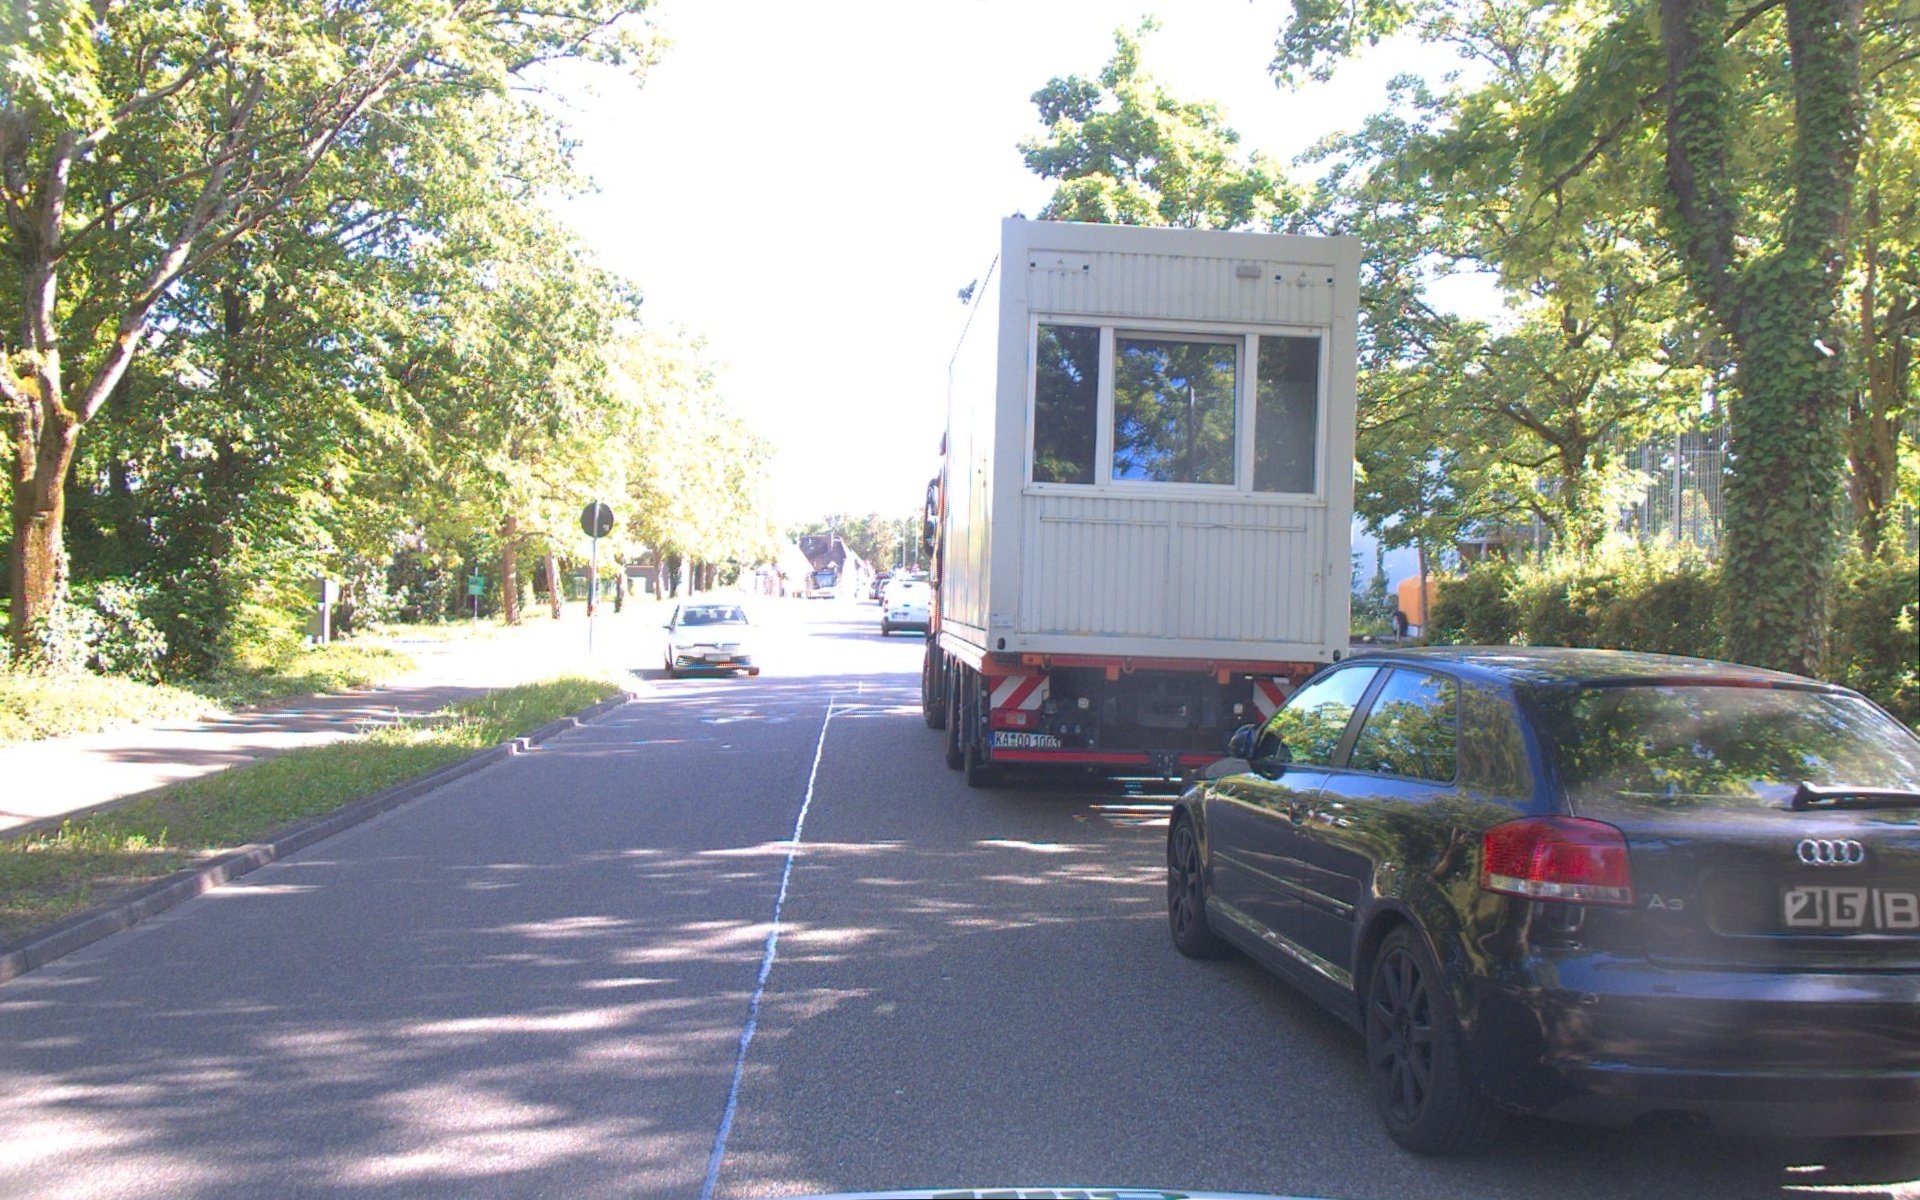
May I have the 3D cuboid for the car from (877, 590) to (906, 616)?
[{"bbox_3d":[-4.539,0.200,109.396,1.746,1.681,3.996,0,0,-5],"label":"car"}]

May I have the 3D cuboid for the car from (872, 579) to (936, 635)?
[{"bbox_3d":[-1.989,0.238,57.826,1.909,1.875,3.994,1,0,-7],"label":"car"}]

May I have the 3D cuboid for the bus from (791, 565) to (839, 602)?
[{"bbox_3d":[-13.948,-1.582,160.398,3.983,3.407,9.798,-1,1,-1],"label":"bus"}]

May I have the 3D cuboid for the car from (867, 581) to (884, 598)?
[{"bbox_3d":[-9.186,-1.136,179.824,1.746,1.840,3.996,0,0,-5],"label":"car"}]

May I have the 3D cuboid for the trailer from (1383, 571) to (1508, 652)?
[{"bbox_3d":[13.210,0.311,45.107,2.886,2.153,1.609,0,0,-6],"label":"trailer"}]

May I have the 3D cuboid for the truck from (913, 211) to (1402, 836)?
[{"bbox_3d":[1.189,-0.533,16.176,2.718,4.065,10.339,2,0,-4],"label":"truck"}]

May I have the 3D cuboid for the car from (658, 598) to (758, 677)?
[{"bbox_3d":[-5.141,0.709,33.395,1.774,1.445,3.948,-1,0,-12],"label":"car"}]

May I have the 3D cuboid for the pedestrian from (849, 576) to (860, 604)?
[{"bbox_3d":[-8.295,-0.802,129.506,0.737,2.150,0.799,2,0,-1],"label":"pedestrian"}]

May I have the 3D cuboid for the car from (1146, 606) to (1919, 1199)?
[{"bbox_3d":[1.925,0.791,6.003,1.608,1.445,3.994,1,0,-7],"label":"car"}]
